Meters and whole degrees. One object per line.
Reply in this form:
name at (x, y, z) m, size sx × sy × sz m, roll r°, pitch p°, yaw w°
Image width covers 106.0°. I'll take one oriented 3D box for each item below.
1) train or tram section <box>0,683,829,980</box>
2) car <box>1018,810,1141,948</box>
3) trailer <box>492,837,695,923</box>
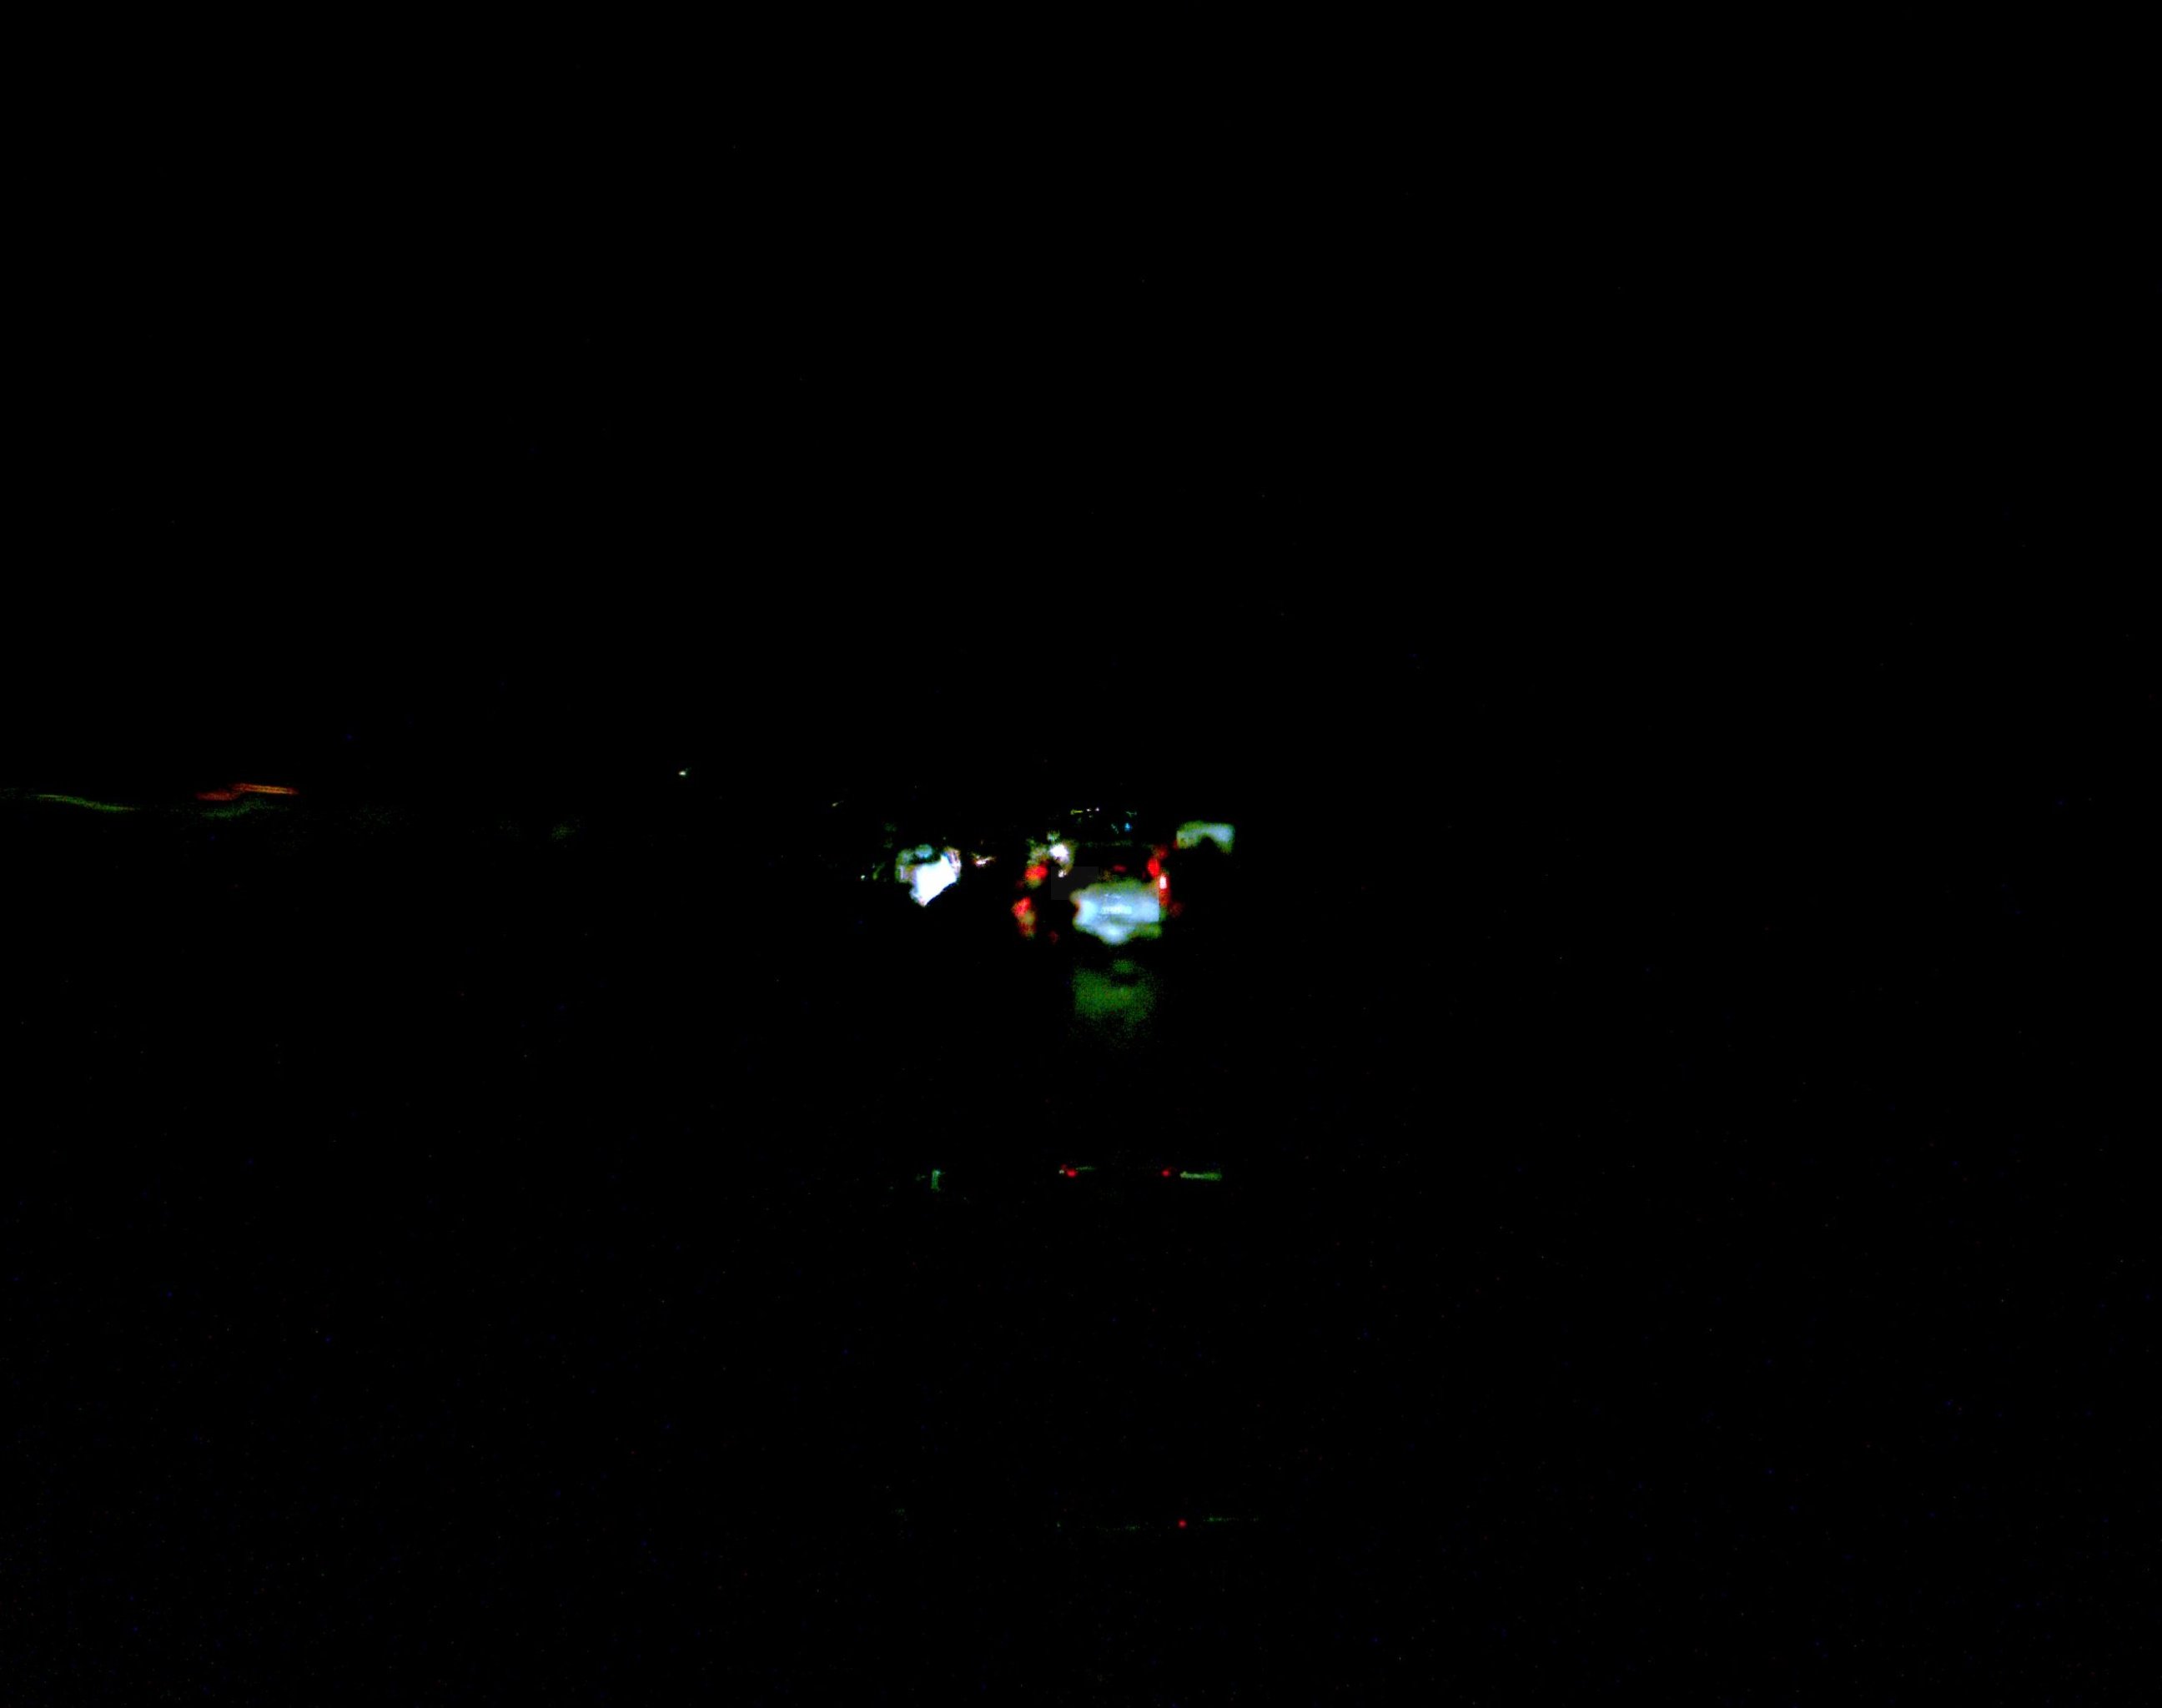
train or tram section at (-14.902, -0.150, 23.624) m, size 2.686 × 3.815 × 37.156 m, roll 0°, pitch -1°, yaw 2°
car at (-0.068, 0.371, 15.016) m, size 1.786 × 2.021 × 4.577 m, roll -4°, pitch 0°, yaw -1°
trailer at (-29.839, 1.488, 51.331) m, size 3.957 × 4.610 × 14.250 m, roll 0°, pitch -1°, yaw 1°
